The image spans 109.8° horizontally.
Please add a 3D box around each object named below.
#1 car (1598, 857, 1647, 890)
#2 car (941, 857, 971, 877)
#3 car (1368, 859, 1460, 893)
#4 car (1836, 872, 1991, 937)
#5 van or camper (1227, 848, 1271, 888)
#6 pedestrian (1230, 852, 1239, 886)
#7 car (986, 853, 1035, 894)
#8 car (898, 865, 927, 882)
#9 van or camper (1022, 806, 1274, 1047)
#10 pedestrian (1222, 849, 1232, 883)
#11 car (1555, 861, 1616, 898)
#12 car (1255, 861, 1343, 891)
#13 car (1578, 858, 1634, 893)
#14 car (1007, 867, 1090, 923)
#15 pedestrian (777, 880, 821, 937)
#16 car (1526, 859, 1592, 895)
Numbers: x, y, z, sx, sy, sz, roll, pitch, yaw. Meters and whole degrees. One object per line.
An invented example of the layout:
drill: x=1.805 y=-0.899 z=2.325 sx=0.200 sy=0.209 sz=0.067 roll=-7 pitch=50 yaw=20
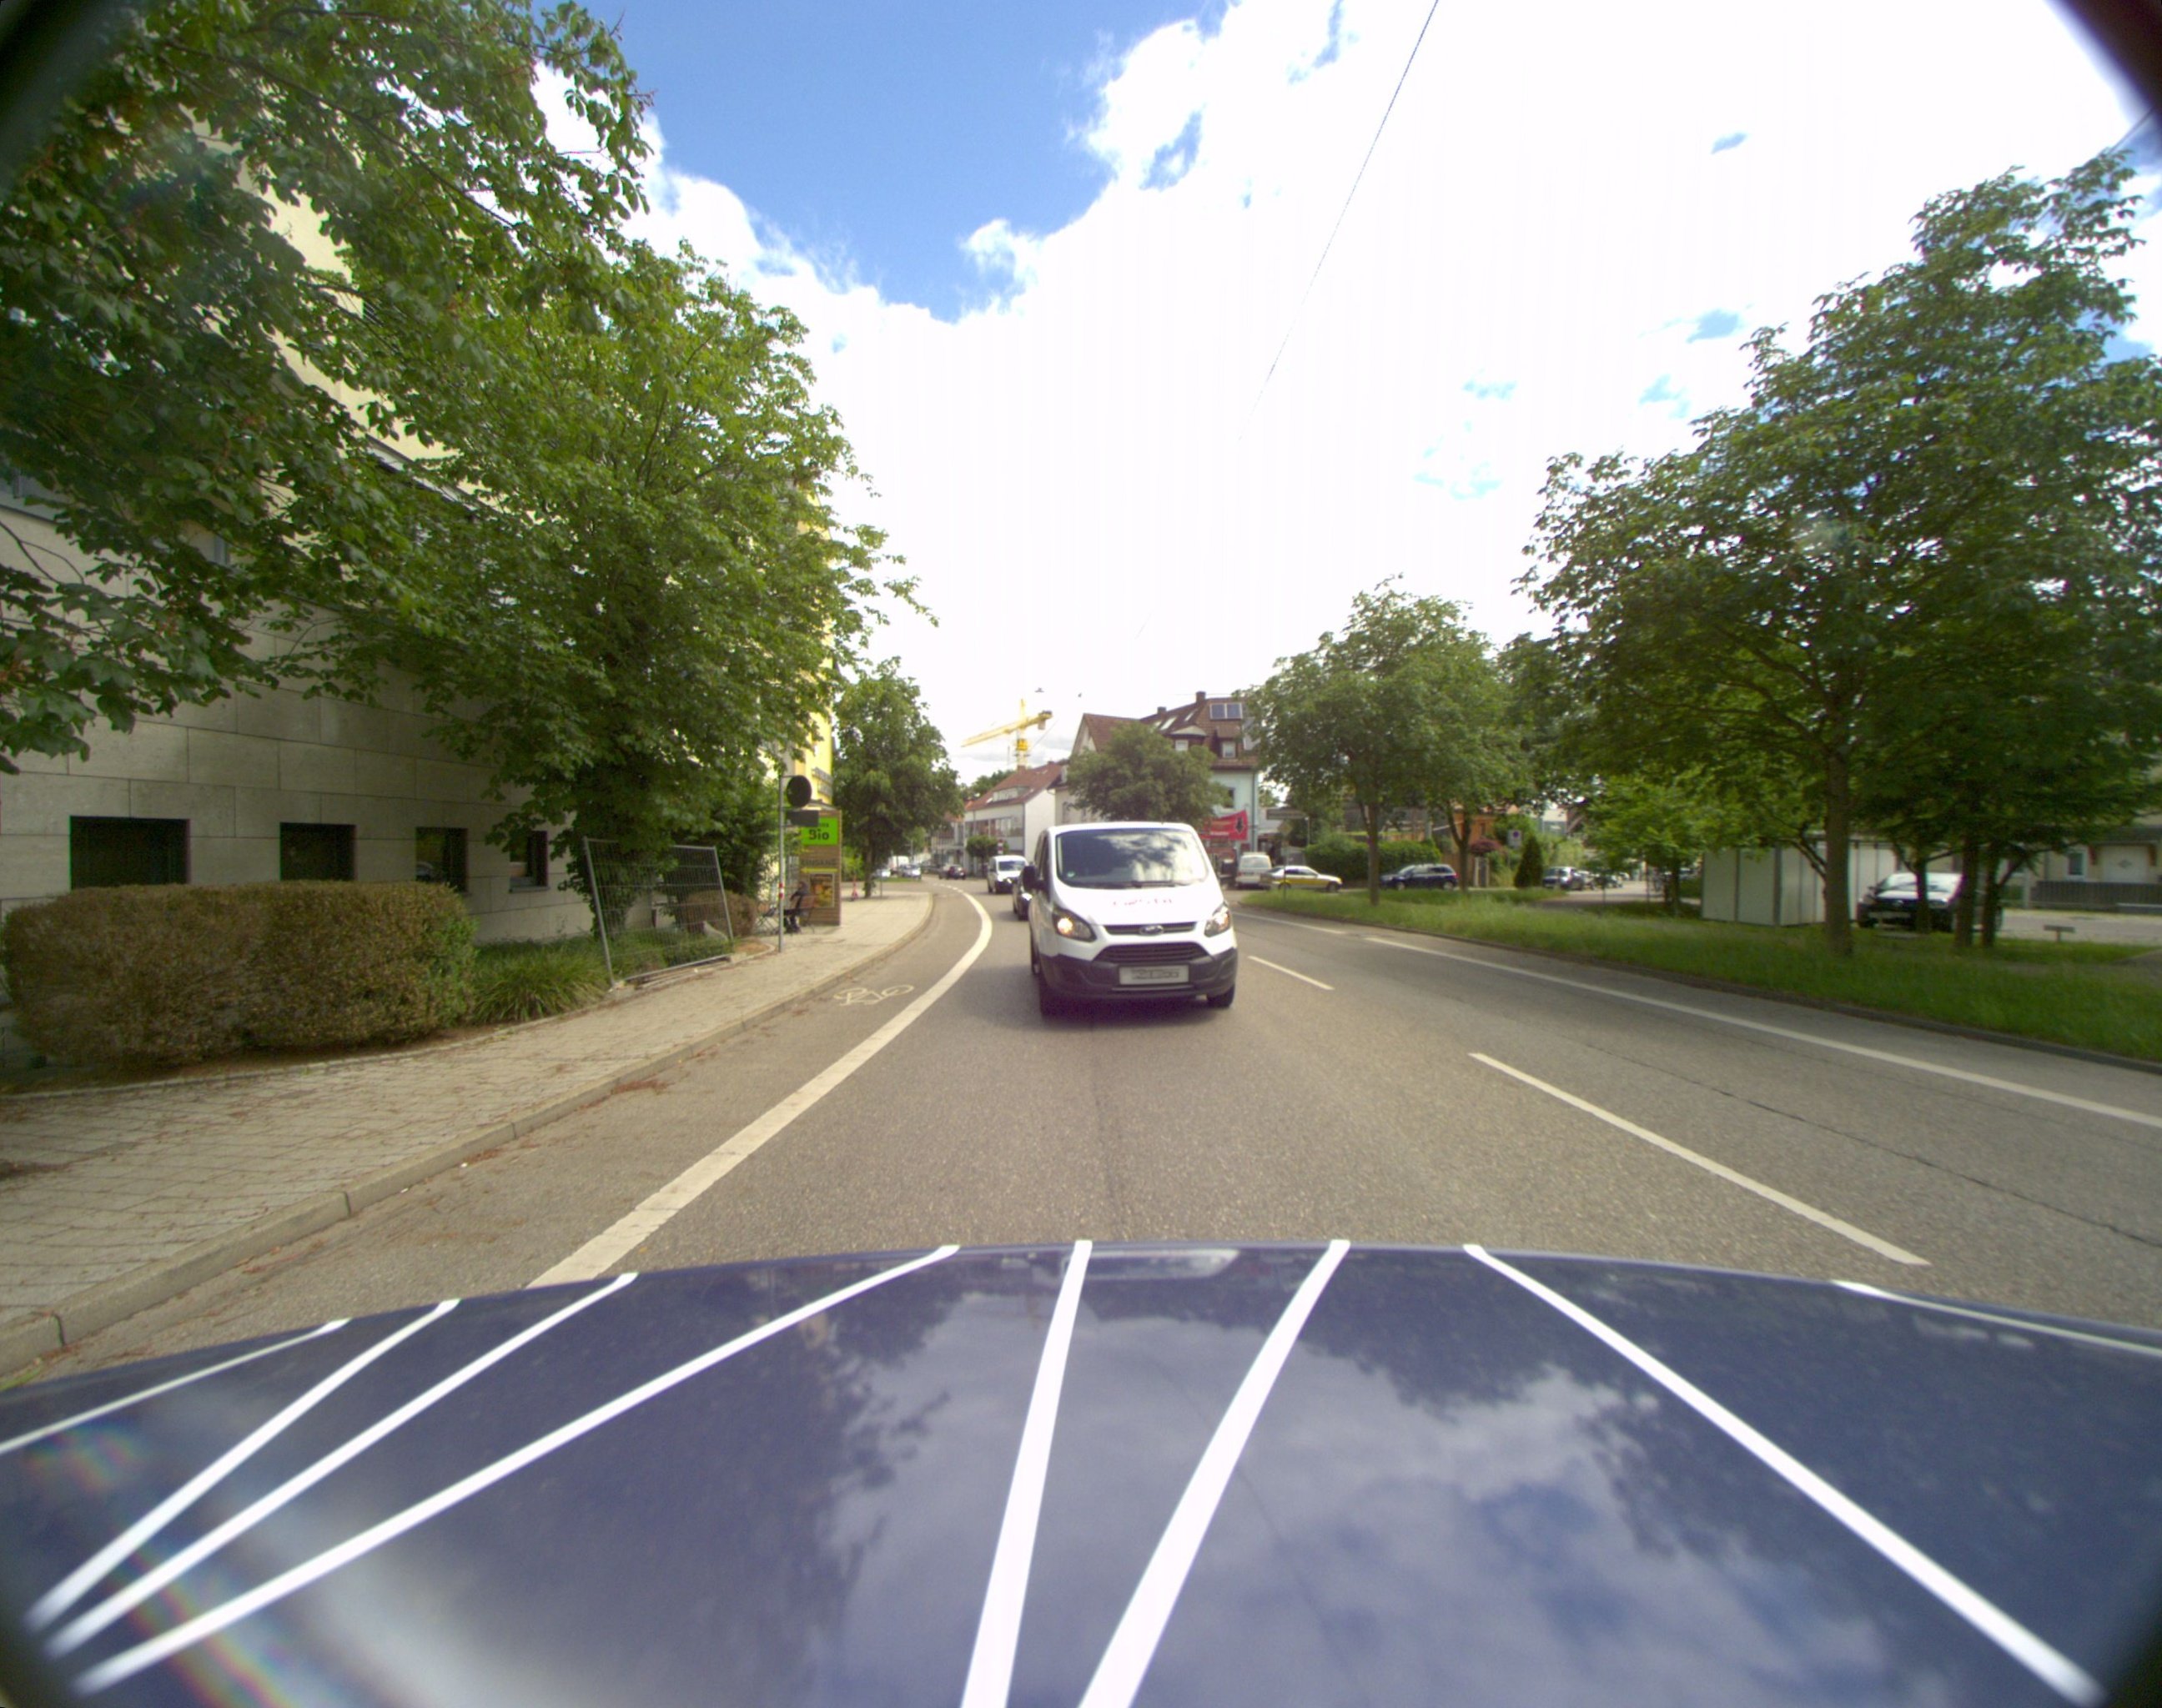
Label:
car: x=37.419 y=1.323 z=52.473 sx=4.007 sy=2.002 sz=1.893 roll=-3 pitch=1 yaw=-41
car: x=-11.848 y=1.211 z=71.788 sx=1.744 sy=1.840 sz=3.991 roll=0 pitch=0 yaw=-25
car: x=17.004 y=1.089 z=38.897 sx=3.976 sy=1.672 sz=1.717 roll=0 pitch=1 yaw=-3
car: x=20.852 y=1.196 z=19.012 sx=4.006 sy=1.411 sz=1.789 roll=0 pitch=0 yaw=-30
van or camper: x=9.445 y=0.757 z=42.968 sx=1.793 sy=2.077 sz=3.811 roll=-2 pitch=1 yaw=3
pedestrian: x=9.108 y=0.905 z=45.137 sx=0.383 sy=1.979 sz=0.443 roll=-2 pitch=1 yaw=1
car: x=-3.438 y=0.888 z=36.601 sx=1.853 sy=1.805 sz=3.996 roll=-2 pitch=1 yaw=-11
car: x=-15.980 y=1.830 z=71.841 sx=1.696 sy=1.477 sz=3.991 roll=-3 pitch=1 yaw=-27
van or camper: x=0.386 y=0.615 z=8.969 sx=2.028 sy=2.002 sz=5.100 roll=0 pitch=0 yaw=-6
pedestrian: x=8.674 y=0.718 z=45.143 sx=0.425 sy=2.002 sz=0.363 roll=-2 pitch=1 yaw=3
car: x=30.857 y=1.506 z=46.437 sx=4.007 sy=2.002 sz=1.995 roll=-3 pitch=1 yaw=-40
car: x=11.179 y=1.122 z=39.004 sx=4.046 sy=1.314 sz=1.534 roll=-2 pitch=1 yaw=-12
car: x=34.094 y=1.368 z=49.298 sx=4.007 sy=2.002 sz=1.995 roll=-3 pitch=1 yaw=-41
car: x=-1.030 y=1.097 z=21.760 sx=1.842 sy=1.382 sz=3.996 roll=0 pitch=0 yaw=-11
pedestrian: x=-6.604 y=1.262 z=17.804 sx=0.731 sy=1.293 sz=0.754 roll=0 pitch=0 yaw=1
car: x=27.487 y=1.282 z=43.655 sx=4.008 sy=2.002 sz=1.976 roll=0 pitch=0 yaw=-39
